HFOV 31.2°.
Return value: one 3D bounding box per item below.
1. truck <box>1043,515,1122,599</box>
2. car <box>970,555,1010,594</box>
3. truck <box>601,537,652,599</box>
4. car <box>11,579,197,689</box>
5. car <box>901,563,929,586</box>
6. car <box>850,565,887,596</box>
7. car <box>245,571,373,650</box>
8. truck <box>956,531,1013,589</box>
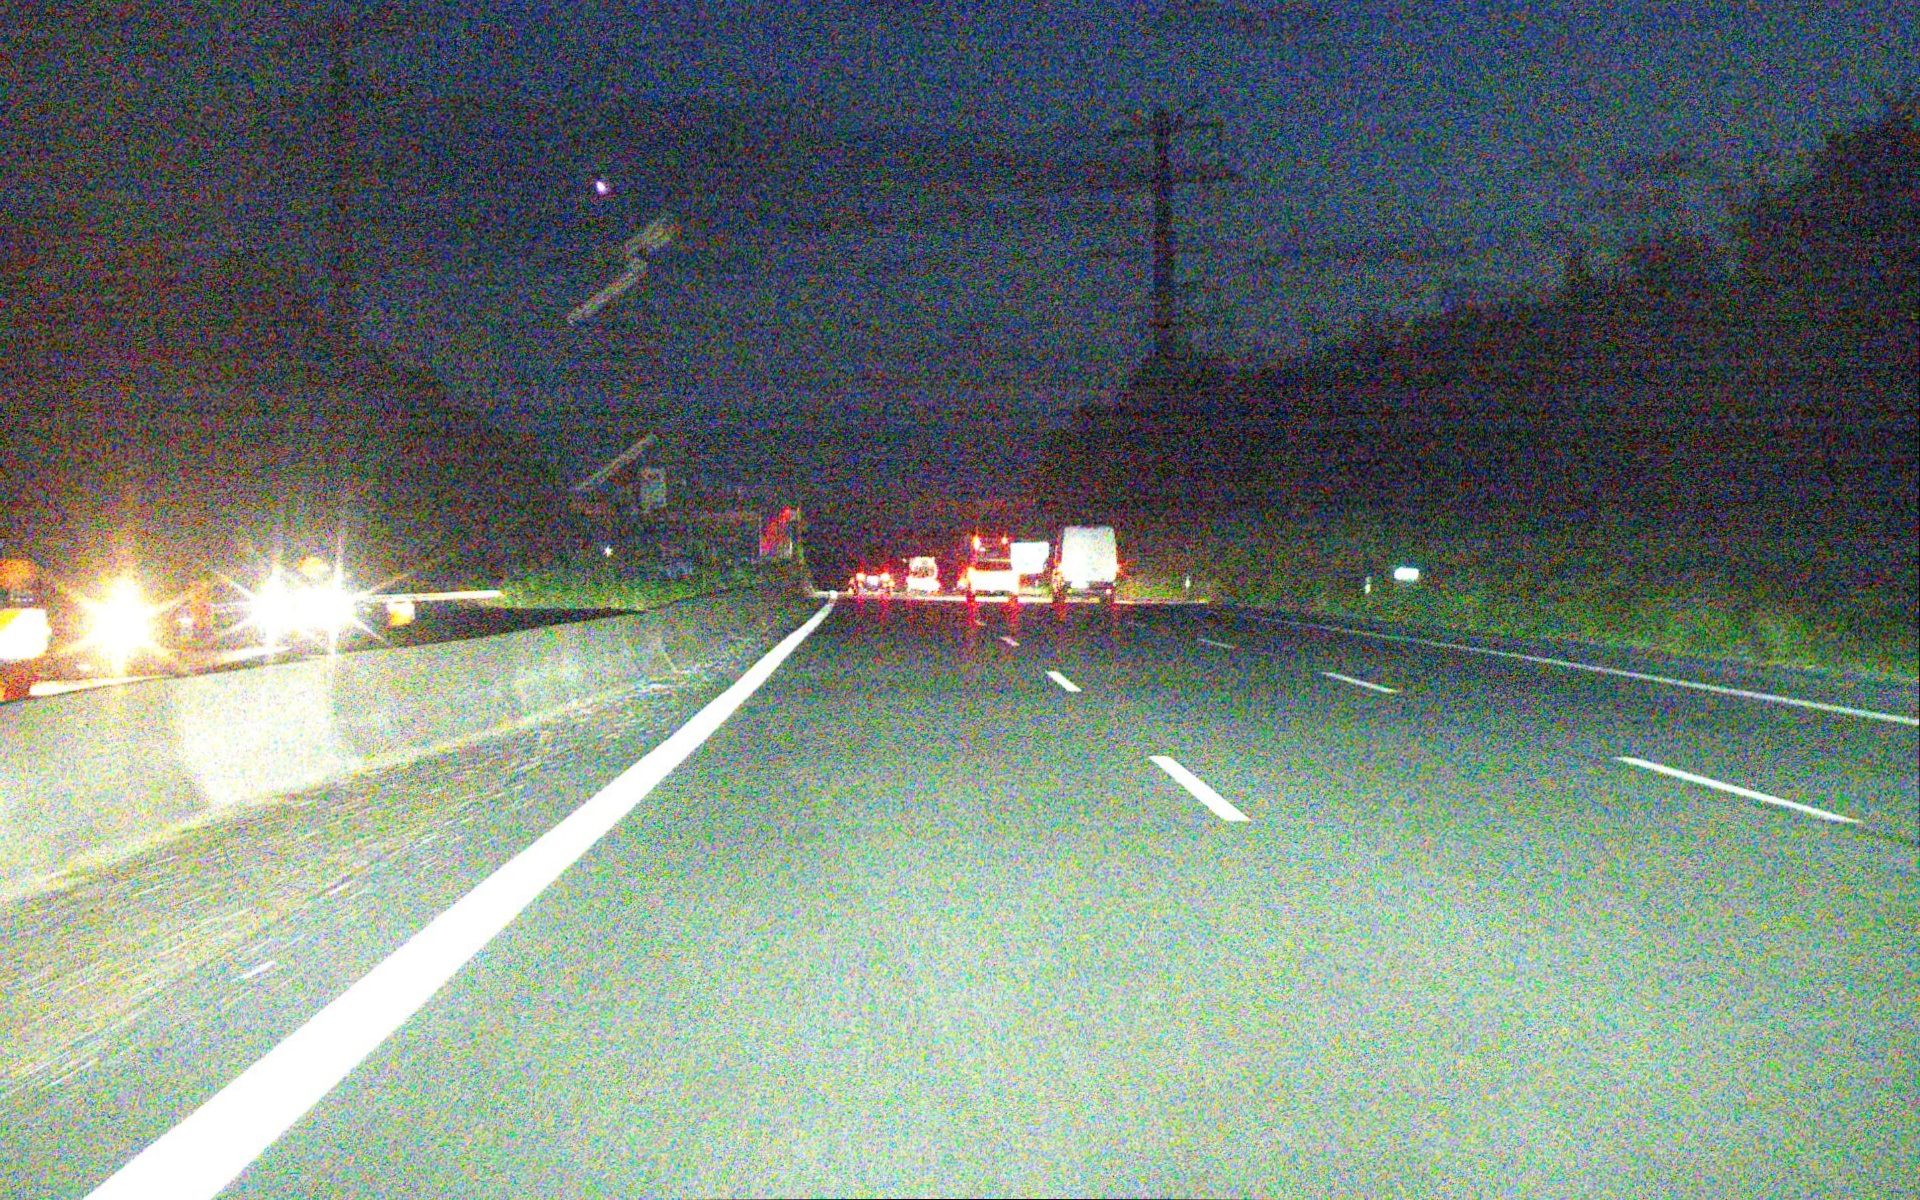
[{"bbox_3d":[4.304,-1.493,122.121,2.076,2.682,7.308,1,-1,-3],"label":"truck"},{"bbox_3d":[1.101,-0.941,127.021,1.346,1.382,3.502,1,1,-1],"label":"car"},{"bbox_3d":[-23.870,-2.362,246.855,3.113,4.188,16.982,-2,1,-4],"label":"truck"},{"bbox_3d":[-12.761,0.471,51.482,1.750,1.473,4.583,-2,1,-2],"label":"car"},{"bbox_3d":[-3.033,-1.722,229.251,1.821,1.461,4.248,1,1,-1],"label":"car"},{"bbox_3d":[-4.581,-0.998,172.383,1.821,1.461,4.248,1,1,-1],"label":"car"},{"bbox_3d":[-13.254,0.193,70.212,1.750,1.473,4.583,-2,1,-1],"label":"car"},{"bbox_3d":[1.436,-2.437,207.136,3.044,3.313,10.142,1,1,-1],"label":"truck"}]
